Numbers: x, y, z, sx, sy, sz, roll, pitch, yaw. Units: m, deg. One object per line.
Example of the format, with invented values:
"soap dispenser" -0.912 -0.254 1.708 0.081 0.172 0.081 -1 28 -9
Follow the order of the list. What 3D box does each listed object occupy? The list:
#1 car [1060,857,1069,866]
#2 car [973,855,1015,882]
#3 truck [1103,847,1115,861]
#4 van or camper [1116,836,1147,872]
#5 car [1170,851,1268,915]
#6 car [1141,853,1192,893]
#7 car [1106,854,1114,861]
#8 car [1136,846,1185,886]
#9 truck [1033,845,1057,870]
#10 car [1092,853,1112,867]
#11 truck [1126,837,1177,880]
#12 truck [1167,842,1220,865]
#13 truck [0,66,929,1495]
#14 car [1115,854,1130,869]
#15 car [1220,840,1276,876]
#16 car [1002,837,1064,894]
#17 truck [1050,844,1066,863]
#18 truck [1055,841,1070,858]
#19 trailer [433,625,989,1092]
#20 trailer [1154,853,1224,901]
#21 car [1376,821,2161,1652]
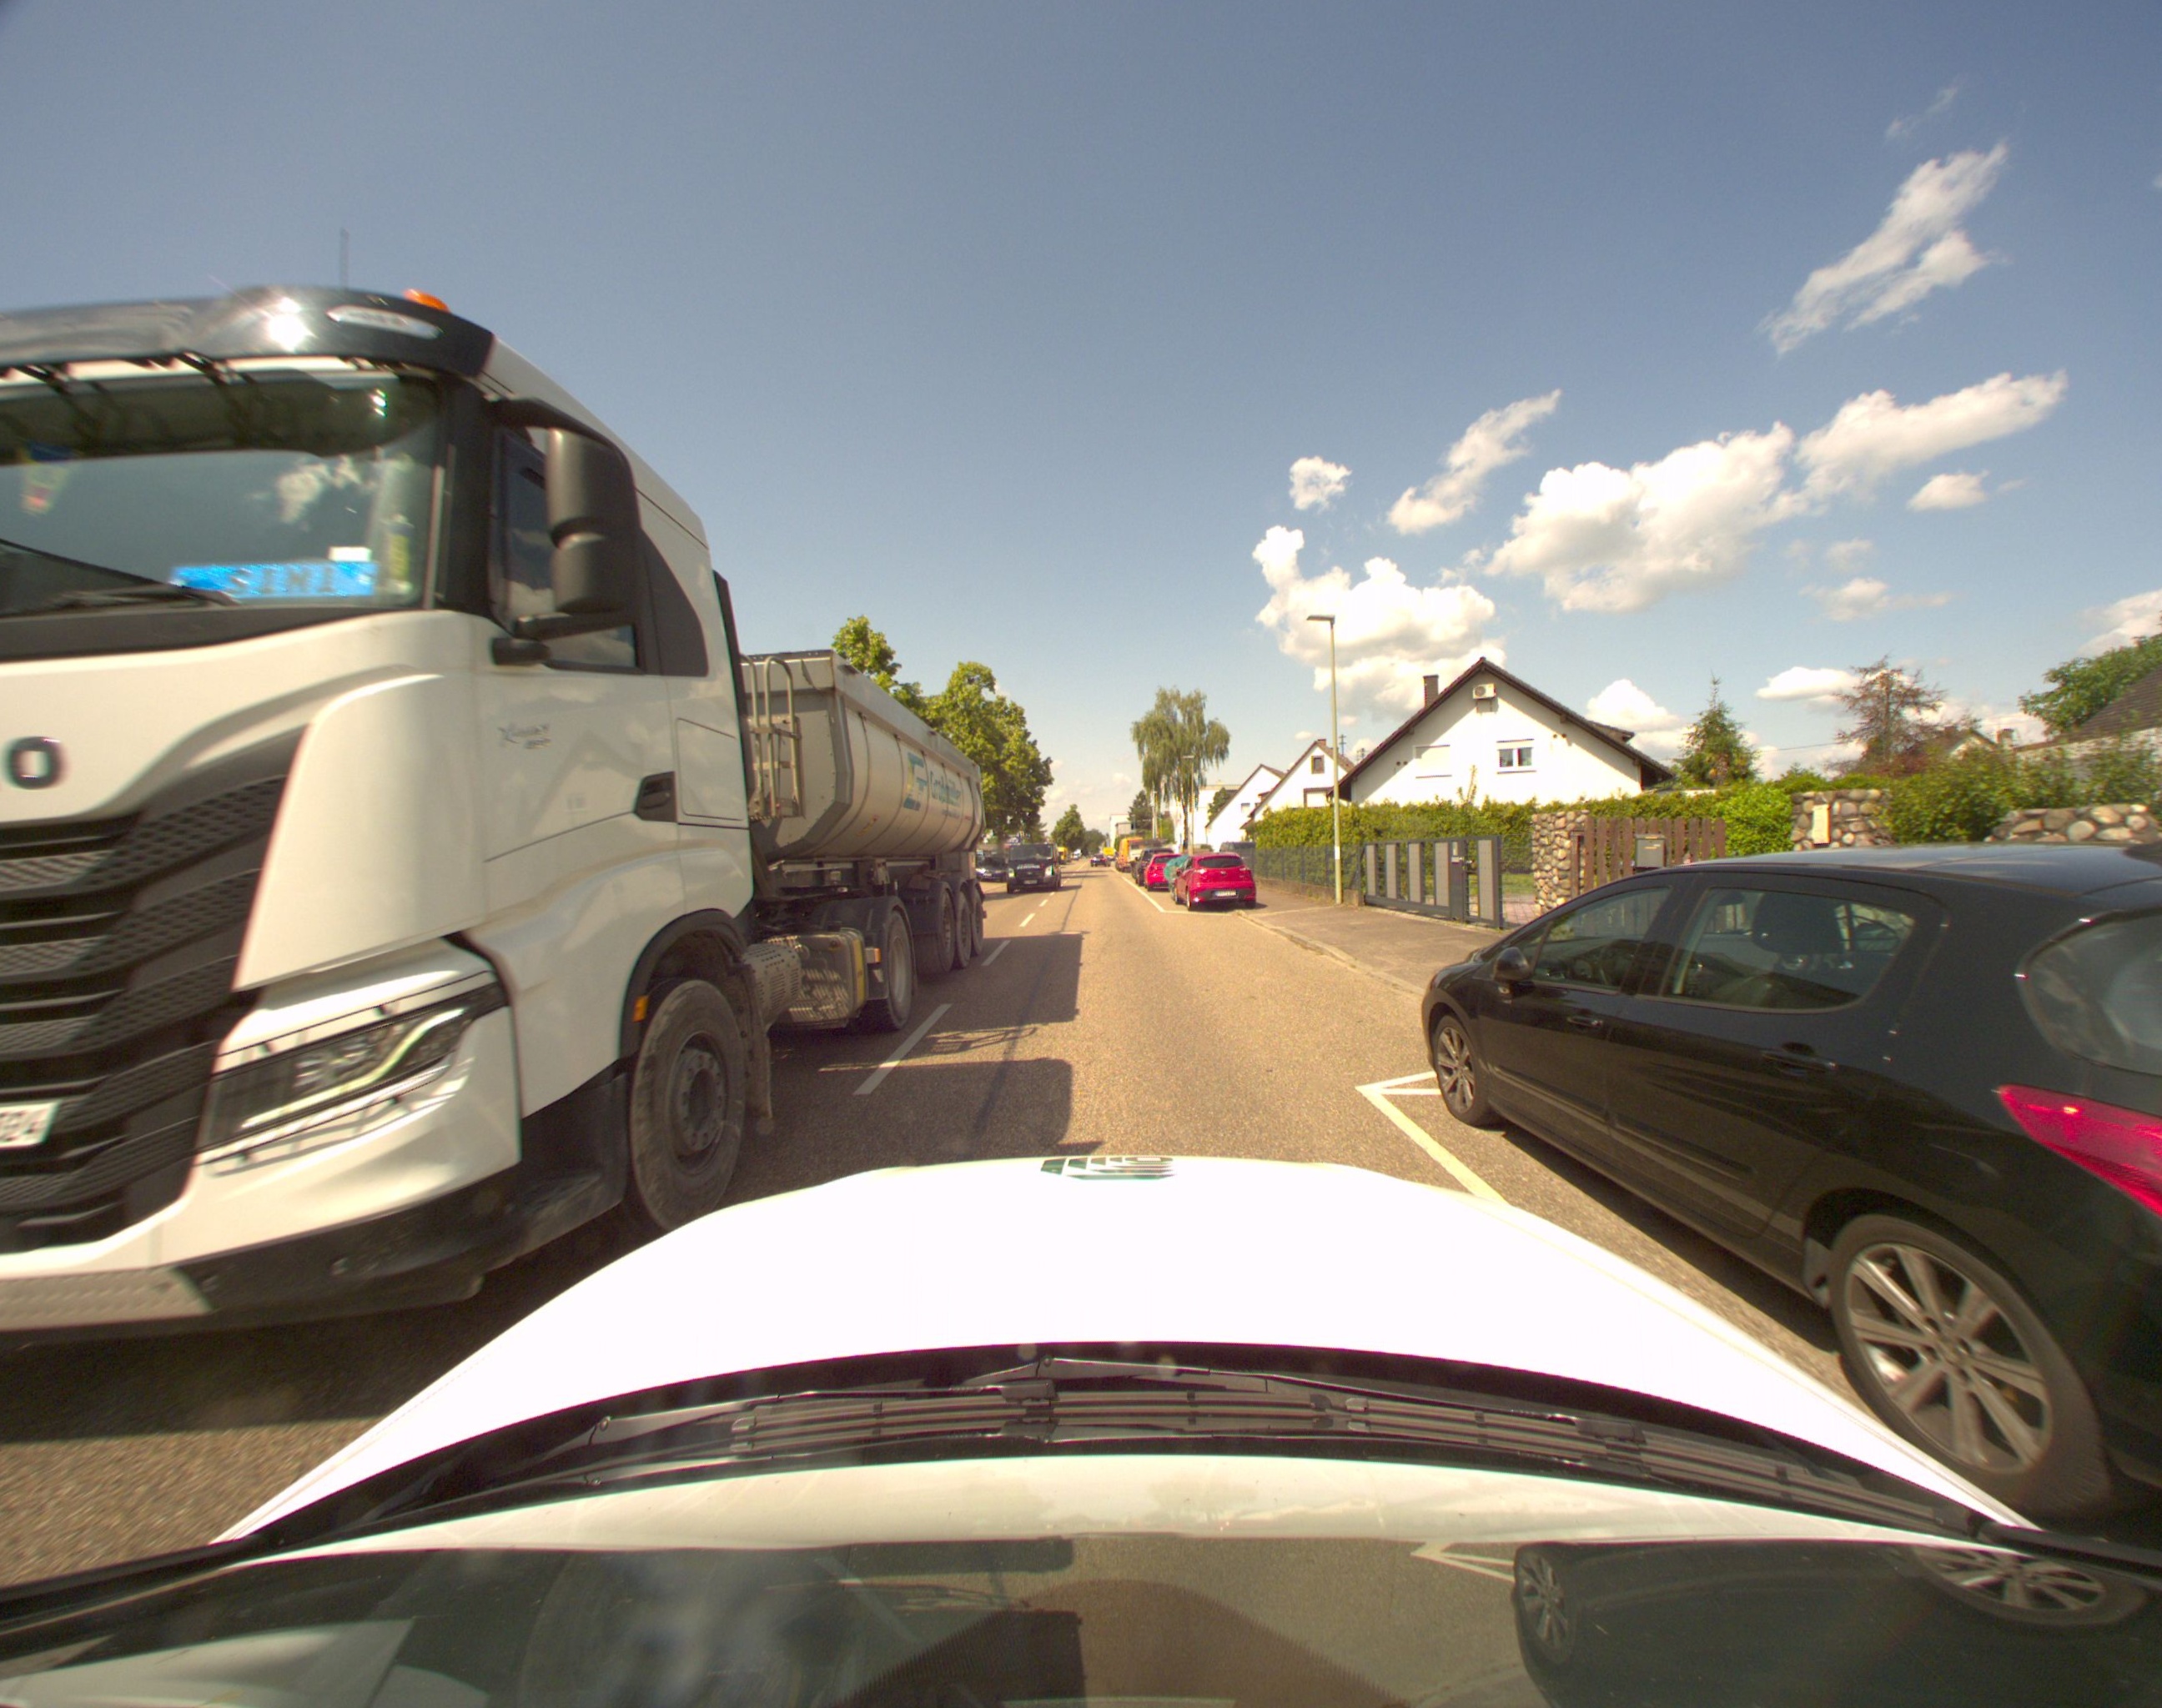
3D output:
"car" -3.225 1.455 158.516 1.719 1.604 4.412 2 0 -1
"car" -5.035 0.823 47.674 1.691 1.483 4.164 1 0 5
"truck" 6.200 -0.044 180.478 2.467 2.940 7.186 0 0 0
"van or camper" 3.915 0.015 64.341 1.988 2.664 5.767 -1 0 -1
"car" 3.489 0.679 21.416 1.686 1.463 4.754 -1 0 -1
"car" 3.292 0.686 31.900 1.678 1.435 4.148 -1 0 2
"car" 5.985 0.766 168.901 1.646 1.387 4.423 0 0 1
"car" 3.505 0.515 36.556 1.823 1.662 4.555 -1 0 1
"truck" -4.226 0.351 97.019 2.211 2.857 7.073 0 0 3
"car" 2.399 0.716 92.311 1.416 1.519 3.032 -2 0 19
"truck" 3.990 0.251 47.171 2.513 2.299 5.897 -2 0 1
"truck" 13.834 -0.073 100.349 6.070 2.577 2.545 -1 0 -25
"truck" -2.901 -0.179 4.935 2.764 3.499 5.880 -2 0 0
"car" 4.472 0.828 88.360 1.604 1.580 4.003 0 0 2
"car" 9.465 0.230 46.482 1.853 1.865 5.014 -2 0 -4
"car" -1.880 0.432 33.383 2.044 2.034 5.142 -3 0 1
"truck" -3.616 -0.012 129.960 2.261 2.855 7.173 0 -1 0
"truck" -3.216 -0.796 140.273 2.308 2.862 7.105 1 0 1
"trailer" -2.982 0.013 9.935 2.826 3.069 8.884 -2 0 -1
"trailer" 3.351 0.679 26.060 1.603 1.378 4.431 -1 0 -1
"car" 2.873 0.694 3.376 1.738 1.550 4.120 -2 0 0
